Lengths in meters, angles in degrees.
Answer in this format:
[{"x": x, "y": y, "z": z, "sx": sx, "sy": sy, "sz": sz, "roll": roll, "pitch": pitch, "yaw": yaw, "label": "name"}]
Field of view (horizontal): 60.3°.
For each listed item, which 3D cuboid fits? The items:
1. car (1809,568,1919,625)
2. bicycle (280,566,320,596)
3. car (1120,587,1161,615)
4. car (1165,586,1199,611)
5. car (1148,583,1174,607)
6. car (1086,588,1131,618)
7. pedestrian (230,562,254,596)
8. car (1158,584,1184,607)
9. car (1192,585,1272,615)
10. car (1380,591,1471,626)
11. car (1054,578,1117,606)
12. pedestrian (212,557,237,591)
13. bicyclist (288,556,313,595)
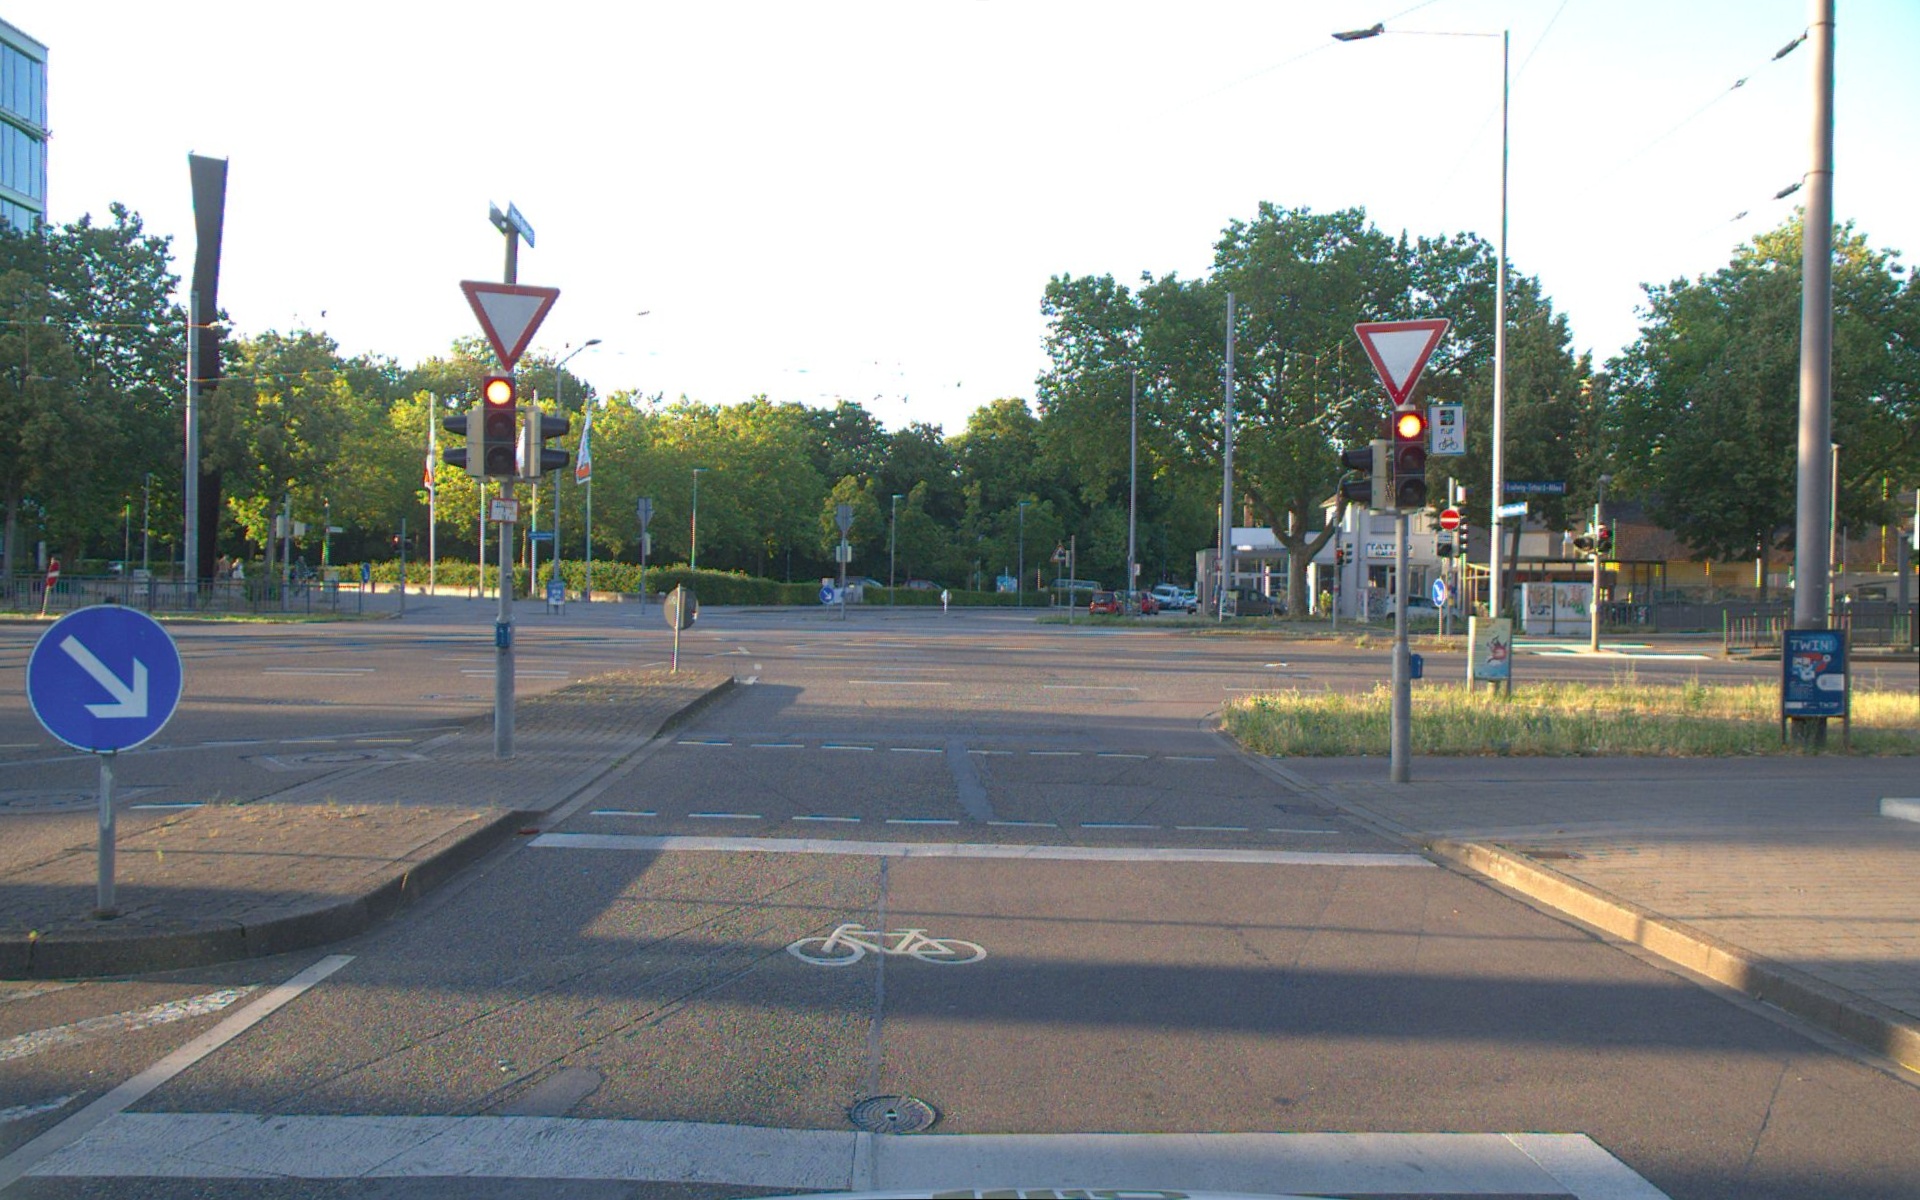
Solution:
[{"x": 43.706, "y": -0.158, "z": 78.654, "sx": 5.476, "sy": 2.596, "sz": 2.231, "roll": 1, "pitch": 0, "yaw": 7, "label": "car"}, {"x": -30.080, "y": -0.862, "z": 75.364, "sx": 0.727, "sy": 1.364, "sz": 2.646, "roll": 0, "pitch": 1, "yaw": -45, "label": "bicycle"}, {"x": 11.330, "y": 0.081, "z": 103.529, "sx": 1.951, "sy": 1.691, "sz": 4.003, "roll": 0, "pitch": -1, "yaw": 14, "label": "car"}, {"x": 15.566, "y": -0.078, "z": 115.820, "sx": 1.951, "sy": 1.691, "sz": 4.003, "roll": 0, "pitch": -1, "yaw": 14, "label": "car"}, {"x": 16.011, "y": -0.380, "z": 131.423, "sx": 1.823, "sy": 1.825, "sz": 4.003, "roll": 1, "pitch": -1, "yaw": 10, "label": "car"}, {"x": 8.631, "y": 0.208, "z": 95.799, "sx": 1.951, "sy": 1.691, "sz": 4.003, "roll": 0, "pitch": -1, "yaw": 14, "label": "car"}, {"x": -38.104, "y": -1.098, "z": 87.780, "sx": 0.844, "sy": 1.774, "sz": 0.828, "roll": 1, "pitch": 0, "yaw": 32, "label": "pedestrian"}, {"x": 17.421, "y": -0.370, "z": 136.339, "sx": 1.823, "sy": 1.825, "sz": 4.003, "roll": 0, "pitch": -1, "yaw": 12, "label": "car"}, {"x": 14.663, "y": 0.014, "z": 89.375, "sx": 4.129, "sy": 1.579, "sz": 2.001, "roll": 1, "pitch": -1, "yaw": 7, "label": "car"}, {"x": 20.388, "y": 0.379, "z": 72.557, "sx": 3.659, "sy": 1.465, "sz": 1.665, "roll": 1, "pitch": -1, "yaw": 9, "label": "car"}, {"x": 9.521, "y": -0.606, "z": 126.013, "sx": 4.675, "sy": 2.041, "sz": 2.000, "roll": 1, "pitch": -1, "yaw": 1, "label": "car"}, {"x": -38.715, "y": -1.349, "z": 87.063, "sx": 0.843, "sy": 1.774, "sz": 0.829, "roll": 1, "pitch": 0, "yaw": 27, "label": "pedestrian"}, {"x": -29.956, "y": -1.118, "z": 75.154, "sx": 0.747, "sy": 1.739, "sz": 0.905, "roll": 0, "pitch": 0, "yaw": -44, "label": "bicyclist"}]
